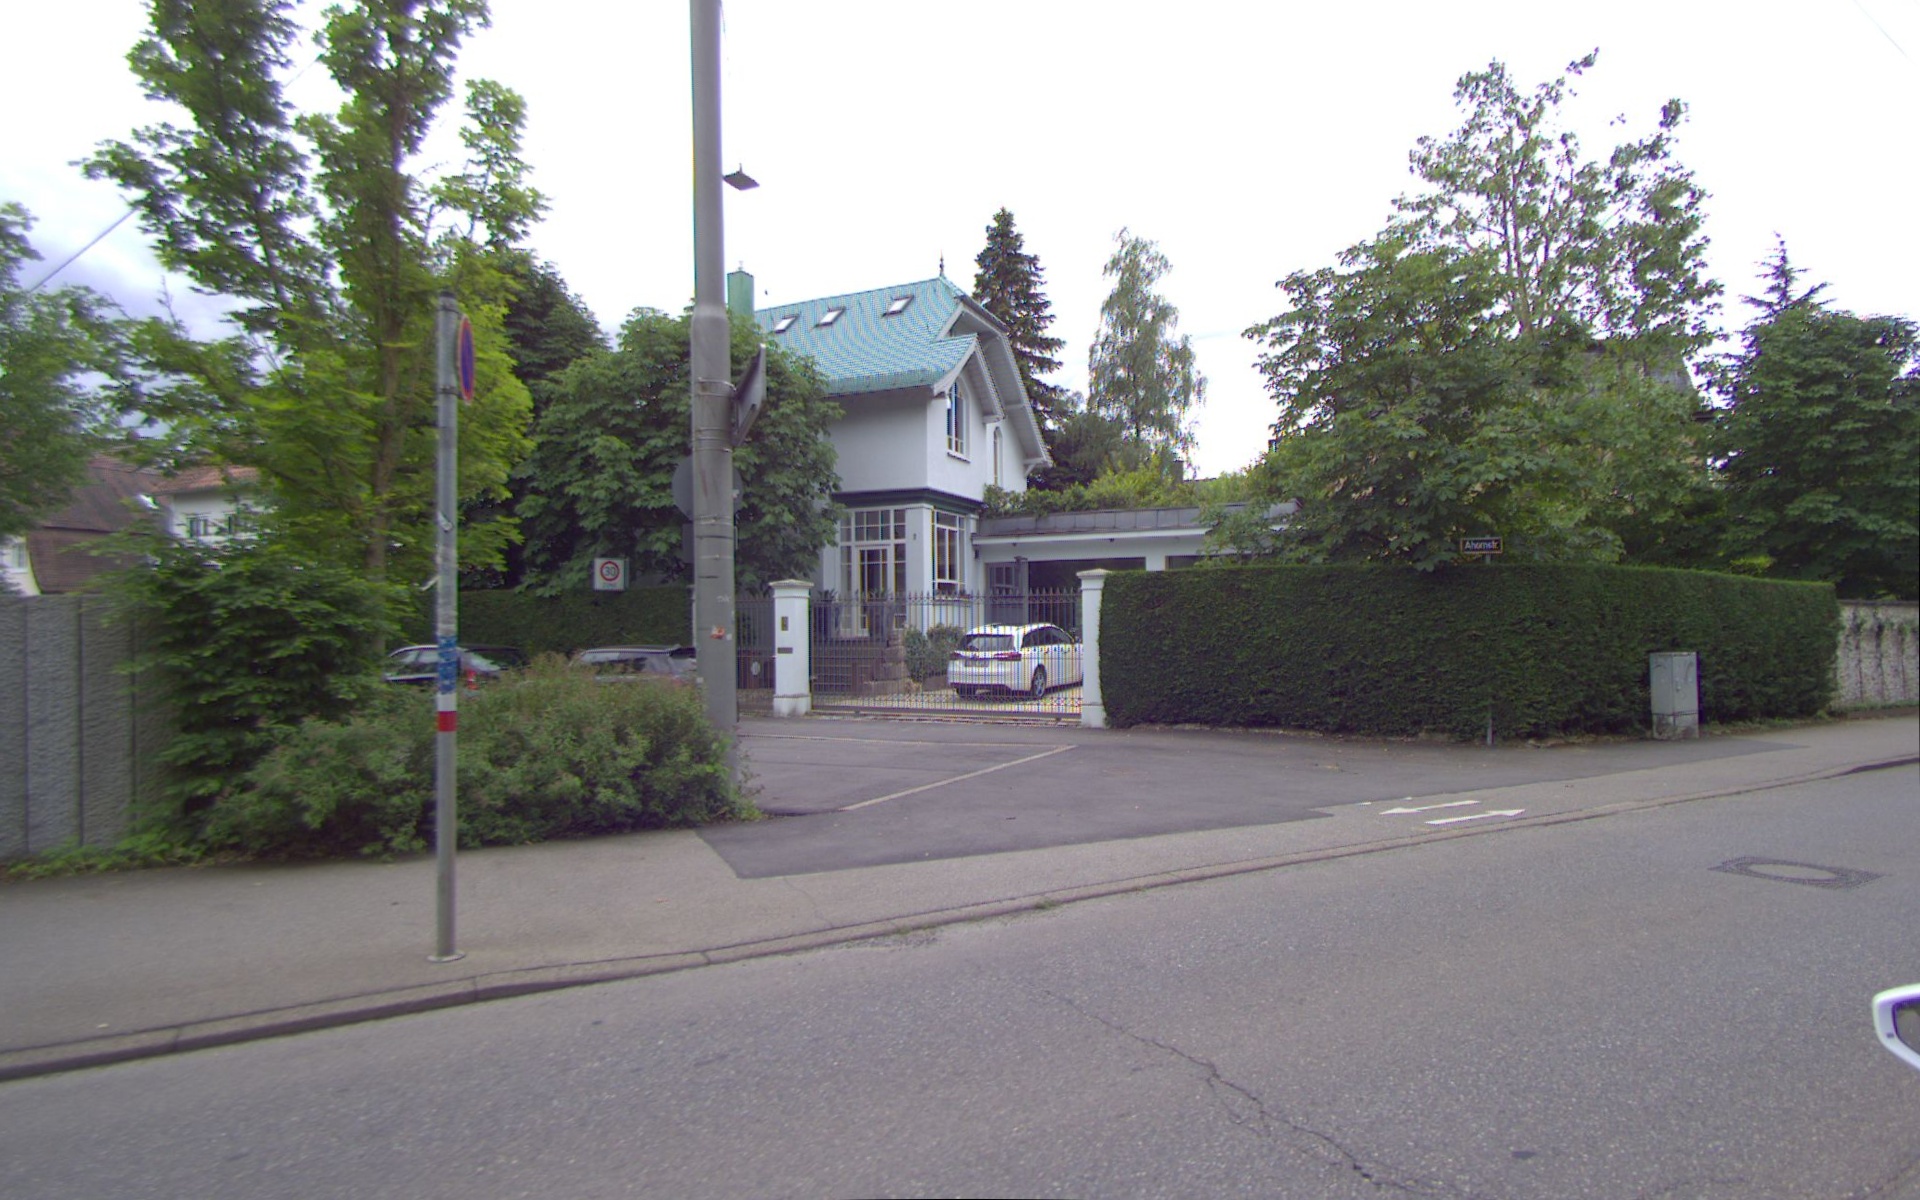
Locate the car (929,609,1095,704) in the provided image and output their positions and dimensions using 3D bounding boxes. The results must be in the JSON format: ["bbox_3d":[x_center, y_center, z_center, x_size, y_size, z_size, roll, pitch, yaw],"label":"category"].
[{"bbox_3d":[1.195,1.093,21.101,1.964,1.706,3.994,-1,0,28],"label":"car"}]

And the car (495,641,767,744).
[{"bbox_3d":[-5.237,1.392,15.986,3.924,1.439,1.807,-1,-2,24],"label":"car"}]

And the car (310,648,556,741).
[{"bbox_3d":[-9.305,1.594,17.739,3.924,1.439,1.807,-1,-2,24],"label":"car"}]
